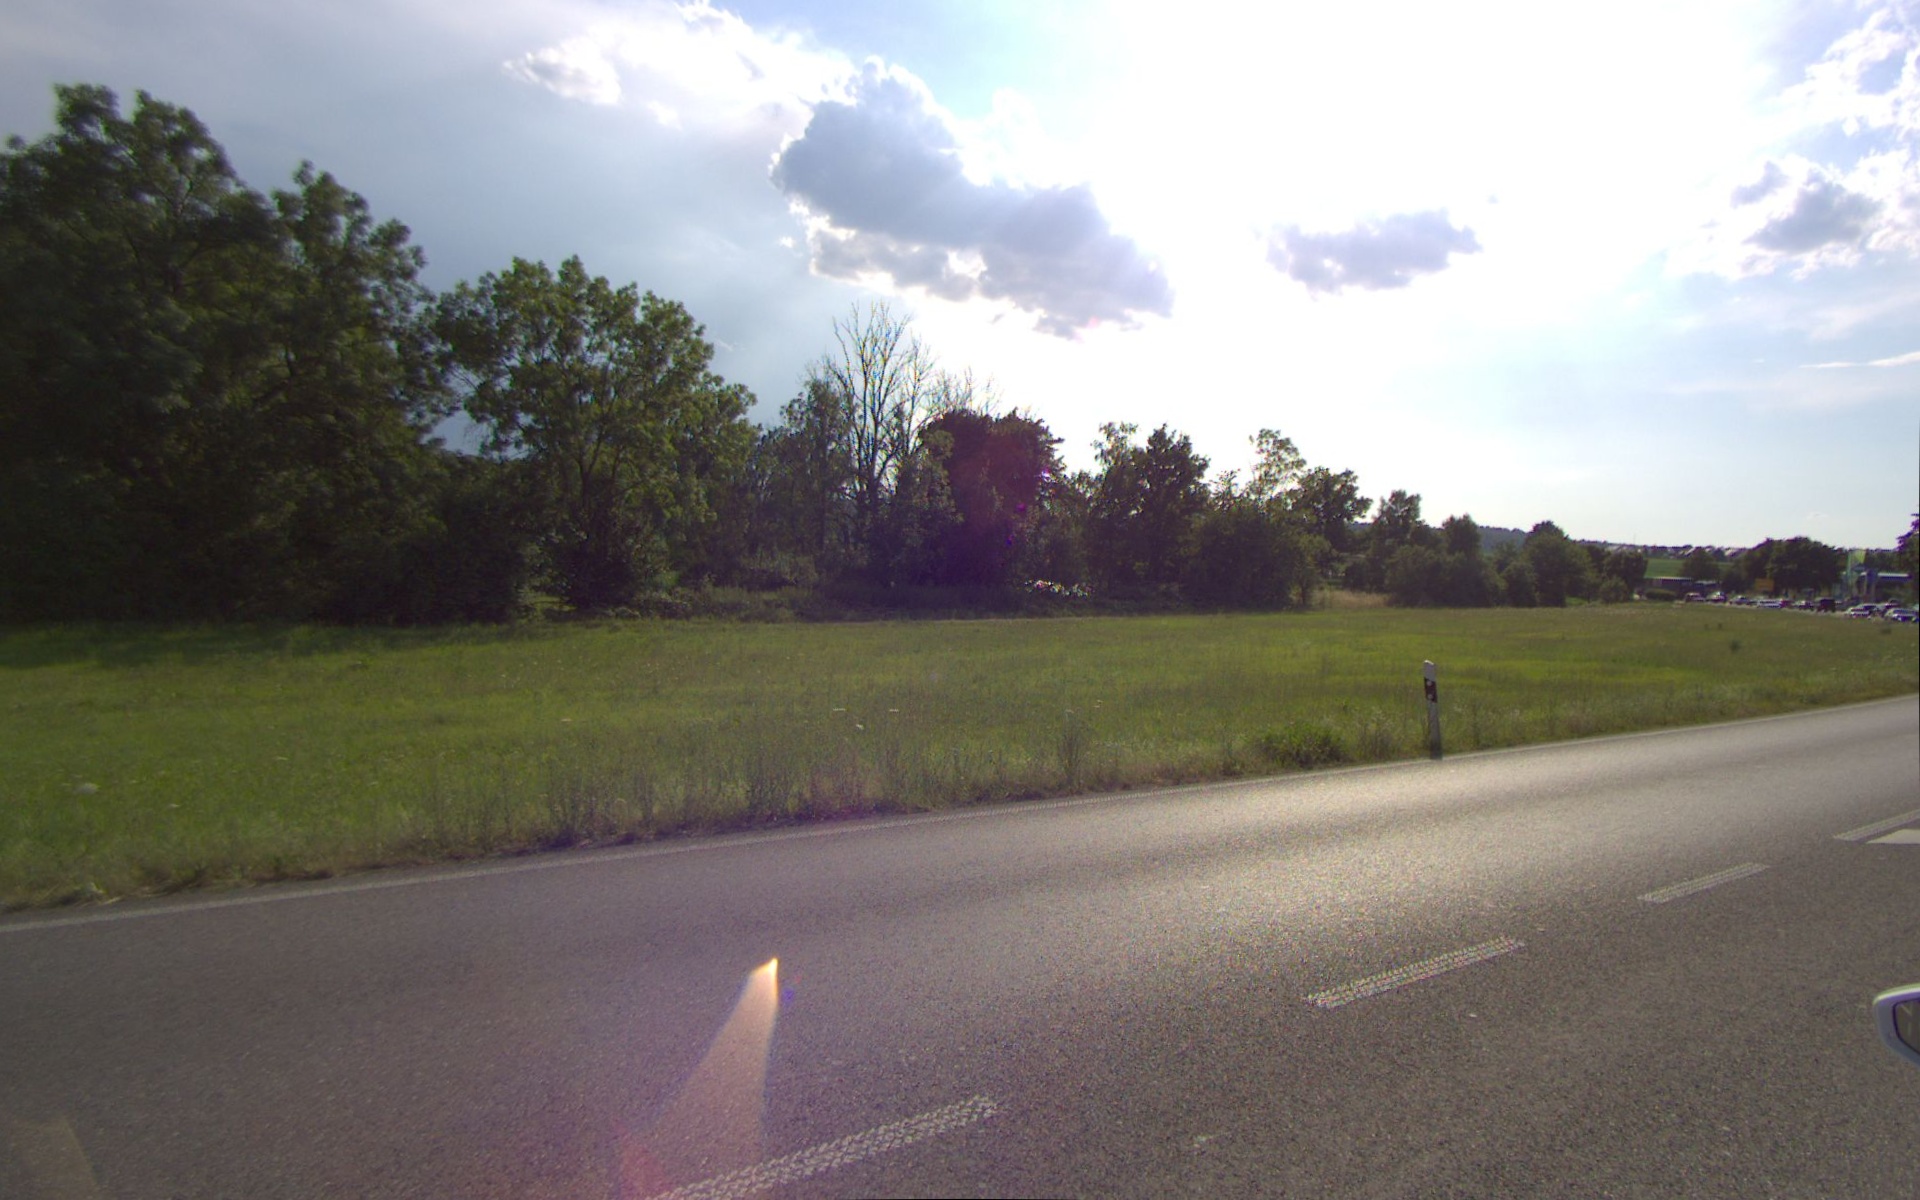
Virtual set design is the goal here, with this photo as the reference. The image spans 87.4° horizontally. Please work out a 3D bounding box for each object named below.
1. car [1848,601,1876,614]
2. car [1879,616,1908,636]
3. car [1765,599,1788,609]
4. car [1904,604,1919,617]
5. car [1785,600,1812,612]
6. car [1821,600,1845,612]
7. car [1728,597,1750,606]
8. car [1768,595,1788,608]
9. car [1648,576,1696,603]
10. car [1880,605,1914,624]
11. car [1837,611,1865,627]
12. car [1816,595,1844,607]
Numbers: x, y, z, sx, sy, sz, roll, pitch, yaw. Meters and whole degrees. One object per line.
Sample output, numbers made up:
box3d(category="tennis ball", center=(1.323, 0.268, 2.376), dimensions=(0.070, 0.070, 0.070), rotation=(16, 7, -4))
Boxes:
box3d(category="car", center=(118.105, 0.918, 131.570), dimensions=(2.056, 1.621, 3.990), rotation=(2, 1, 32))
box3d(category="car", center=(79.047, 2.210, 85.034), dimensions=(1.677, 1.573, 4.126), rotation=(2, 0, 45))
box3d(category="car", center=(128.921, 0.633, 158.611), dimensions=(1.852, 1.621, 3.996), rotation=(2, 1, 25))
box3d(category="car", center=(117.291, 1.283, 122.704), dimensions=(2.056, 1.621, 3.990), rotation=(2, 1, 32))
box3d(category="car", center=(126.756, 0.899, 151.910), dimensions=(2.052, 1.621, 3.997), rotation=(2, 1, 24))
box3d(category="car", center=(129.613, 0.892, 149.122), dimensions=(1.853, 1.621, 3.994), rotation=(2, 1, 28))
box3d(category="car", center=(133.834, 0.251, 172.642), dimensions=(1.851, 1.621, 3.999), rotation=(2, 1, 21))
box3d(category="car", center=(118.450, 0.242, 145.513), dimensions=(1.816, 1.678, 3.990), rotation=(2, 0, 33))
box3d(category="car", center=(139.412, -2.072, 196.956), dimensions=(3.481, 5.127, 13.246), rotation=(2, 1, 16))
box3d(category="car", center=(91.532, 1.391, 98.102), dimensions=(4.392, 1.748, 1.975), rotation=(0, 1, -42))
box3d(category="car", center=(101.614, 2.184, 114.526), dimensions=(1.816, 1.678, 3.988), rotation=(2, 0, 34))
box3d(category="car", center=(121.870, 0.169, 140.794), dimensions=(2.053, 1.621, 3.994), rotation=(2, 1, 28))
